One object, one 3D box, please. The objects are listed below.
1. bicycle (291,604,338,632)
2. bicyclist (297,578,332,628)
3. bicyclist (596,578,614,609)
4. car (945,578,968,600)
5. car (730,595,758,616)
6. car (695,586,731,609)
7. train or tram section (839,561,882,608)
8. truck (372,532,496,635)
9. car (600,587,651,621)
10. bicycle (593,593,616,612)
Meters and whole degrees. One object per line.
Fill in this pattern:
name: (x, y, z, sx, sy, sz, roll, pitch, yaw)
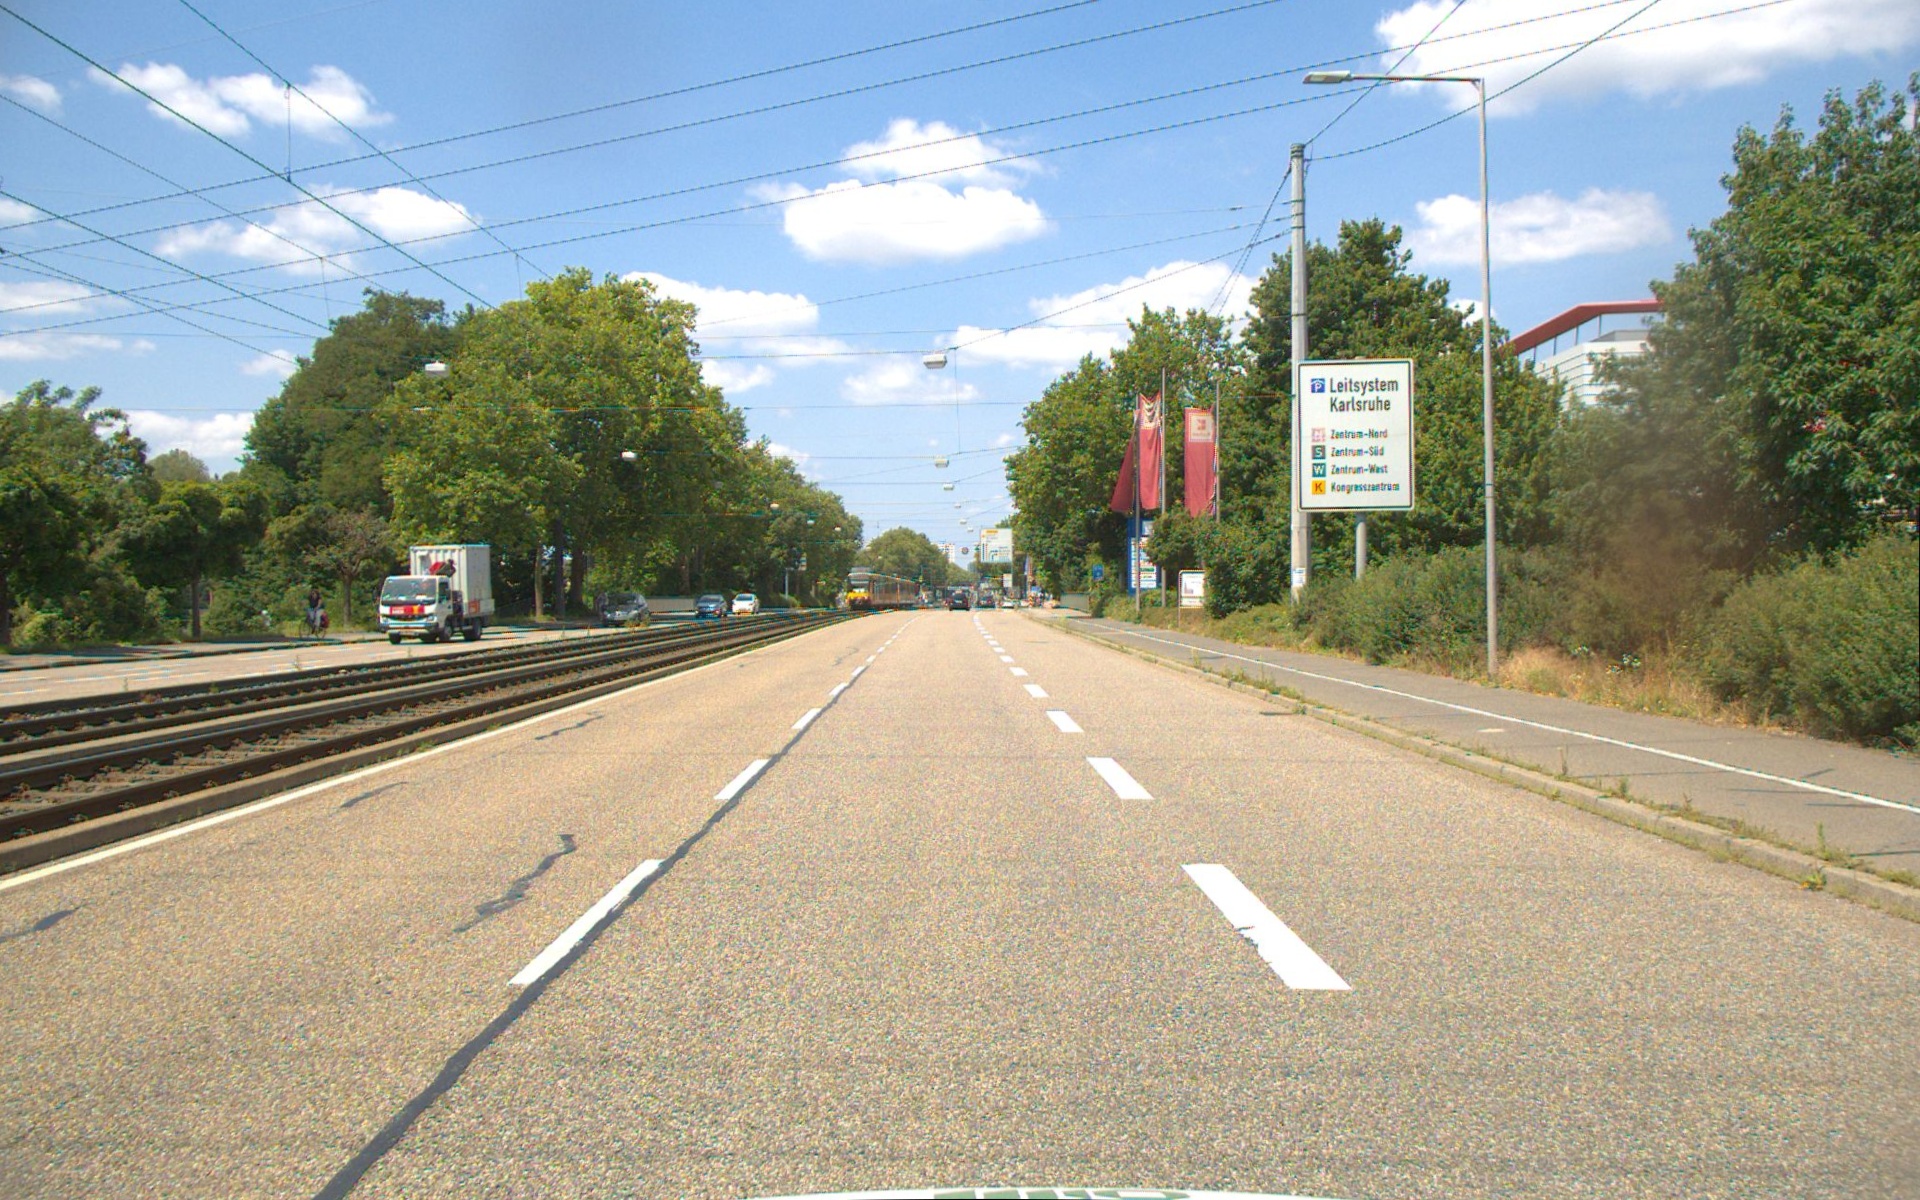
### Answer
bicycle: (-21.843, 0.597, 56.017, 0.637, 0.874, 2.121, 2, 0, 3)
bicyclist: (-21.831, 0.111, 55.989, 0.637, 1.648, 1.156, 2, 0, 3)
bicyclist: (-19.488, -0.351, 90.767, 0.609, 1.645, 1.062, 2, 0, 5)
car: (-0.330, -0.985, 146.120, 1.861, 1.837, 3.975, 2, 0, -1)
car: (-16.085, 0.409, 123.278, 1.603, 1.461, 3.720, -1, 0, -1)
car: (-15.761, -0.180, 105.672, 1.603, 1.446, 4.127, -1, 0, 0)
train or tram section: (-9.521, -1.468, 159.650, 2.985, 4.342, 15.424, 0, 0, 1)
truck: (-17.773, -0.556, 56.227, 2.203, 3.293, 6.042, 0, 0, 1)
car: (-16.139, 0.181, 79.960, 1.717, 1.562, 3.956, -1, 0, -2)
bicycle: (-19.502, 0.132, 90.817, 0.609, 0.996, 2.056, 2, 0, 5)
